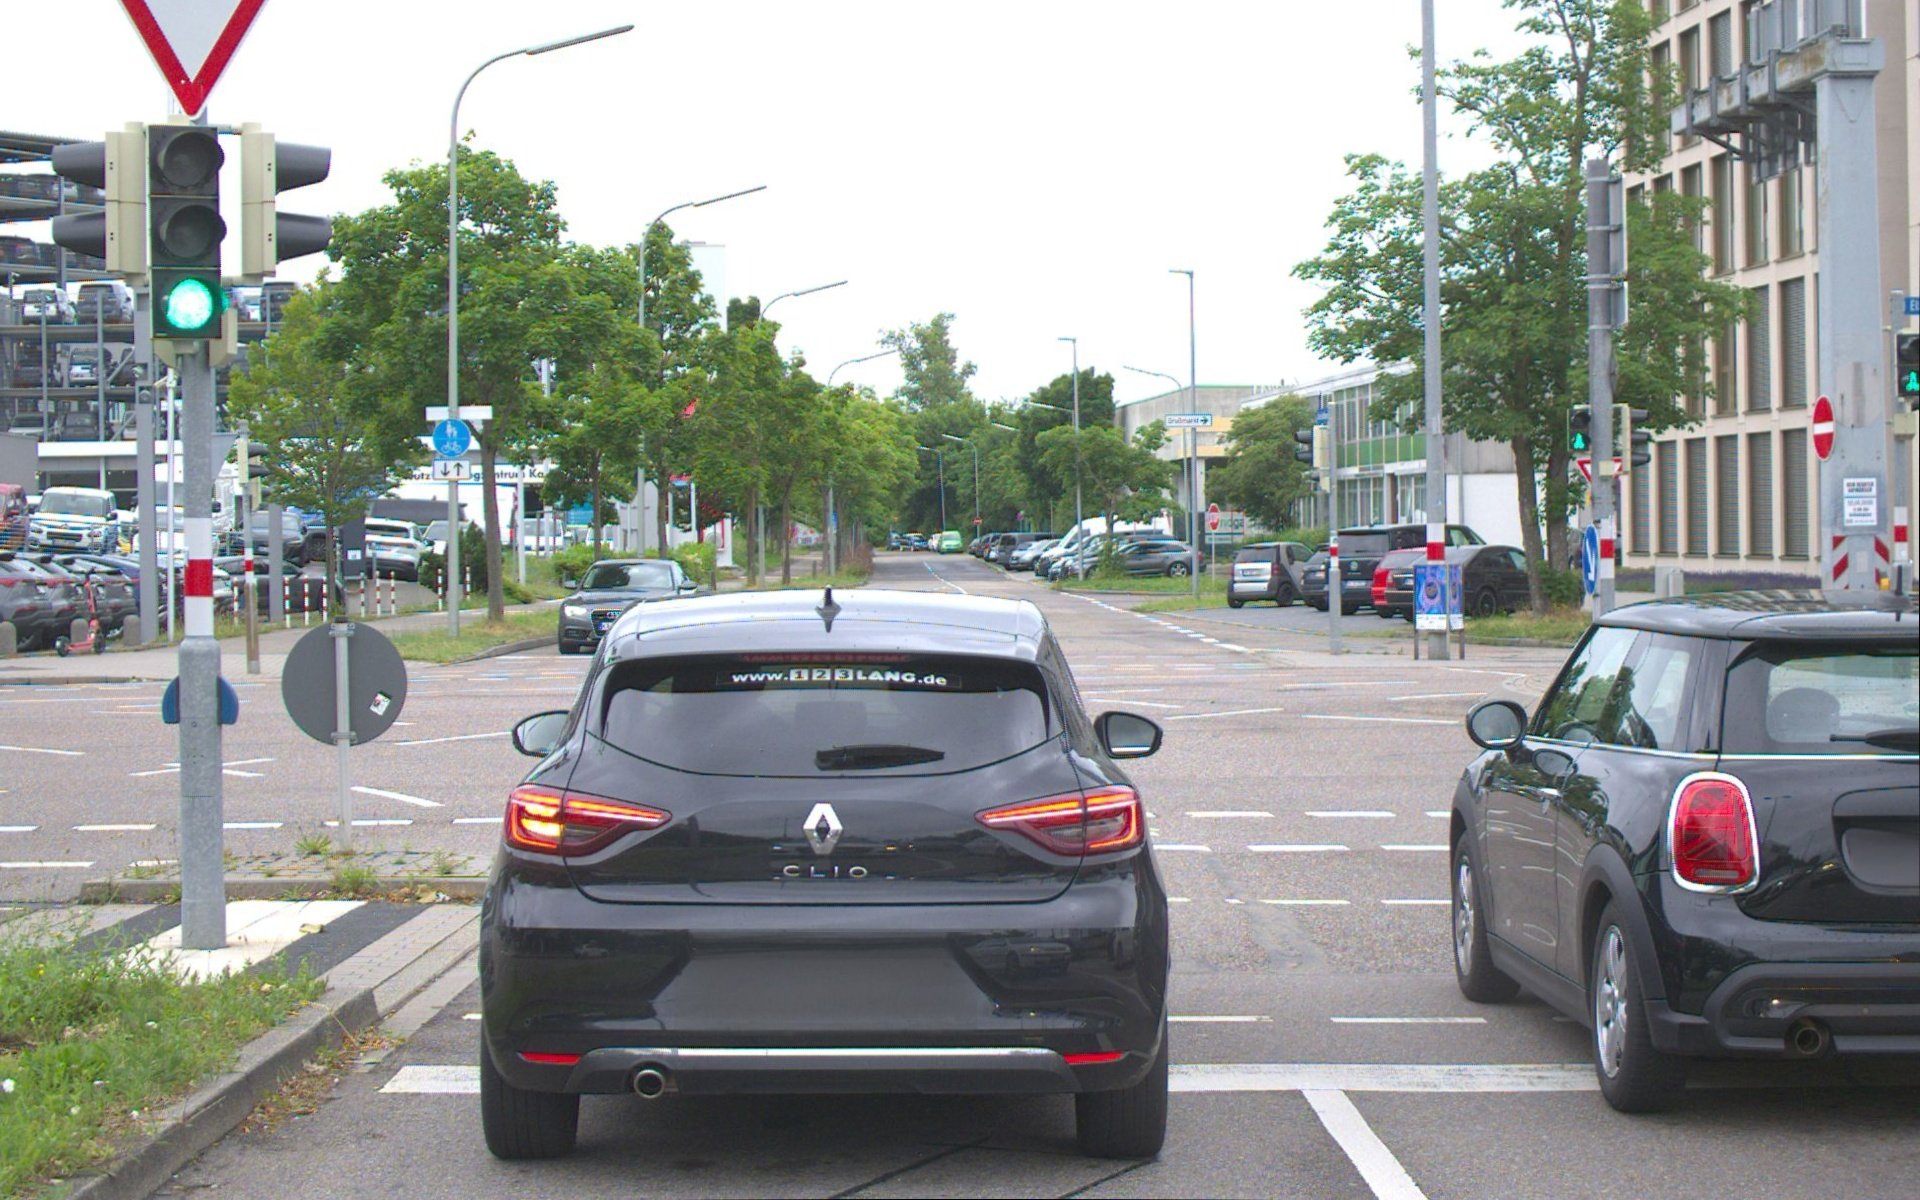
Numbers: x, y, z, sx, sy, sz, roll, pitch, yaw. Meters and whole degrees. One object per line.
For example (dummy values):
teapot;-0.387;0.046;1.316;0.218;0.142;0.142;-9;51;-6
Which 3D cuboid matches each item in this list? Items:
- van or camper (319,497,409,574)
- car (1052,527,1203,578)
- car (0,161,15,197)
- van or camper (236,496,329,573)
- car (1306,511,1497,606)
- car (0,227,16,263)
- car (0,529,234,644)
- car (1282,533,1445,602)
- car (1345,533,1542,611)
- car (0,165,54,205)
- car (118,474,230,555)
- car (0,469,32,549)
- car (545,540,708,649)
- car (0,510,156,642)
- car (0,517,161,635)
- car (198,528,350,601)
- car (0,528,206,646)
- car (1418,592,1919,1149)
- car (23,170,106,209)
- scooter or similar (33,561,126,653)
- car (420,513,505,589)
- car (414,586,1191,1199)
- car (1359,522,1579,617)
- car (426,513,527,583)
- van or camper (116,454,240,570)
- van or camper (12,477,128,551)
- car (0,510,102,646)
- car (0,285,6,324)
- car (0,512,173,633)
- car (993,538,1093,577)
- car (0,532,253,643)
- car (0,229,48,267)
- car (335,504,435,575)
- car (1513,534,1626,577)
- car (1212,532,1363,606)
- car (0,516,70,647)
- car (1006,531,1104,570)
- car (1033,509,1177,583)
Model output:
van or camper;-16.299;-1.746;94.191;1.993;2.007;4.000;1;0;-4
car;5.964;-1.680;122.788;5.173;1.714;2.144;1;0;-2
car;-49.901;-21.249;173.703;3.994;1.661;1.996;1;1;32
van or camper;-18.498;-1.779;94.004;1.993;2.007;4.000;1;0;-4
car;9.463;-0.872;73.510;1.998;1.959;4.235;-1;0;42
car;-49.884;-17.903;173.703;3.994;1.661;1.996;1;1;32
car;-16.662;-0.248;66.373;4.892;2.007;2.000;-3;0;-5
car;9.040;-0.722;76.915;1.696;1.506;3.808;0;0;43
car;9.912;-0.575;70.310;1.887;1.546;4.123;0;0;45
car;-48.507;-21.228;175.810;3.994;1.661;1.996;1;1;32
car;-18.893;-2.037;82.778;1.993;1.817;4.000;1;0;-4
car;-23.813;-2.201;82.901;1.993;1.842;4.000;1;0;-4
car;-5.009;-0.119;52.265;1.978;1.546;4.614;-1;1;1
car;-15.840;-0.326;55.876;5.022;2.007;2.266;-3;0;-5
car;-16.286;-0.348;58.506;4.945;1.870;2.054;-2;0;-6
car;-19.571;-1.002;98.249;3.986;2.007;2.000;1;0;-3
car;-16.650;-0.213;63.817;4.892;2.007;2.000;-3;0;-5
car;2.564;0.695;10.596;1.786;1.411;3.643;1;0;0
car;-46.659;-21.374;179.159;3.994;1.661;1.996;1;1;32
scooter or similar;-12.187;0.086;47.625;0.557;1.214;1.559;2;2;14
car;-13.627;-1.334;94.395;1.993;2.007;4.000;1;0;-4
car;-0.378;0.691;9.870;1.757;1.430;4.000;1;0;-1
car;9.784;-0.578;65.922;4.121;1.762;1.888;-1;0;-40
car;-11.697;-1.243;83.382;1.993;1.612;4.000;1;0;-2
van or camper;-21.345;-2.364;94.016;2.535;3.016;4.844;1;0;-4
van or camper;-21.359;-2.048;82.657;1.993;1.645;4.001;1;0;-4
car;-15.791;-0.259;52.869;4.700;2.007;2.000;-3;0;-4
car;-51.116;-14.976;174.202;5.322;1.938;2.207;1;1;28
car;-16.561;-0.441;60.998;4.772;2.007;2.000;-3;0;-6
car;4.364;-2.235;181.458;5.173;2.007;2.144;1;0;-1
car;-16.908;-0.254;69.368;4.892;2.007;2.000;-3;0;-5
car;-48.785;-17.970;175.657;3.994;1.661;1.996;1;1;32
car;-13.850;-1.437;82.985;1.993;1.612;4.000;1;0;-4
car;19.538;-1.427;110.294;3.229;1.328;1.486;1;0;-18
car;7.940;-0.736;83.230;3.424;1.726;1.765;1;0;-42
car;-15.663;-0.174;50.299;4.771;1.856;2.000;-3;0;-5
car;4.812;-2.514;174.846;4.785;1.885;2.144;1;0;-2
car;6.337;-2.368;150.863;6.116;3.106;2.134;1;0;-1
